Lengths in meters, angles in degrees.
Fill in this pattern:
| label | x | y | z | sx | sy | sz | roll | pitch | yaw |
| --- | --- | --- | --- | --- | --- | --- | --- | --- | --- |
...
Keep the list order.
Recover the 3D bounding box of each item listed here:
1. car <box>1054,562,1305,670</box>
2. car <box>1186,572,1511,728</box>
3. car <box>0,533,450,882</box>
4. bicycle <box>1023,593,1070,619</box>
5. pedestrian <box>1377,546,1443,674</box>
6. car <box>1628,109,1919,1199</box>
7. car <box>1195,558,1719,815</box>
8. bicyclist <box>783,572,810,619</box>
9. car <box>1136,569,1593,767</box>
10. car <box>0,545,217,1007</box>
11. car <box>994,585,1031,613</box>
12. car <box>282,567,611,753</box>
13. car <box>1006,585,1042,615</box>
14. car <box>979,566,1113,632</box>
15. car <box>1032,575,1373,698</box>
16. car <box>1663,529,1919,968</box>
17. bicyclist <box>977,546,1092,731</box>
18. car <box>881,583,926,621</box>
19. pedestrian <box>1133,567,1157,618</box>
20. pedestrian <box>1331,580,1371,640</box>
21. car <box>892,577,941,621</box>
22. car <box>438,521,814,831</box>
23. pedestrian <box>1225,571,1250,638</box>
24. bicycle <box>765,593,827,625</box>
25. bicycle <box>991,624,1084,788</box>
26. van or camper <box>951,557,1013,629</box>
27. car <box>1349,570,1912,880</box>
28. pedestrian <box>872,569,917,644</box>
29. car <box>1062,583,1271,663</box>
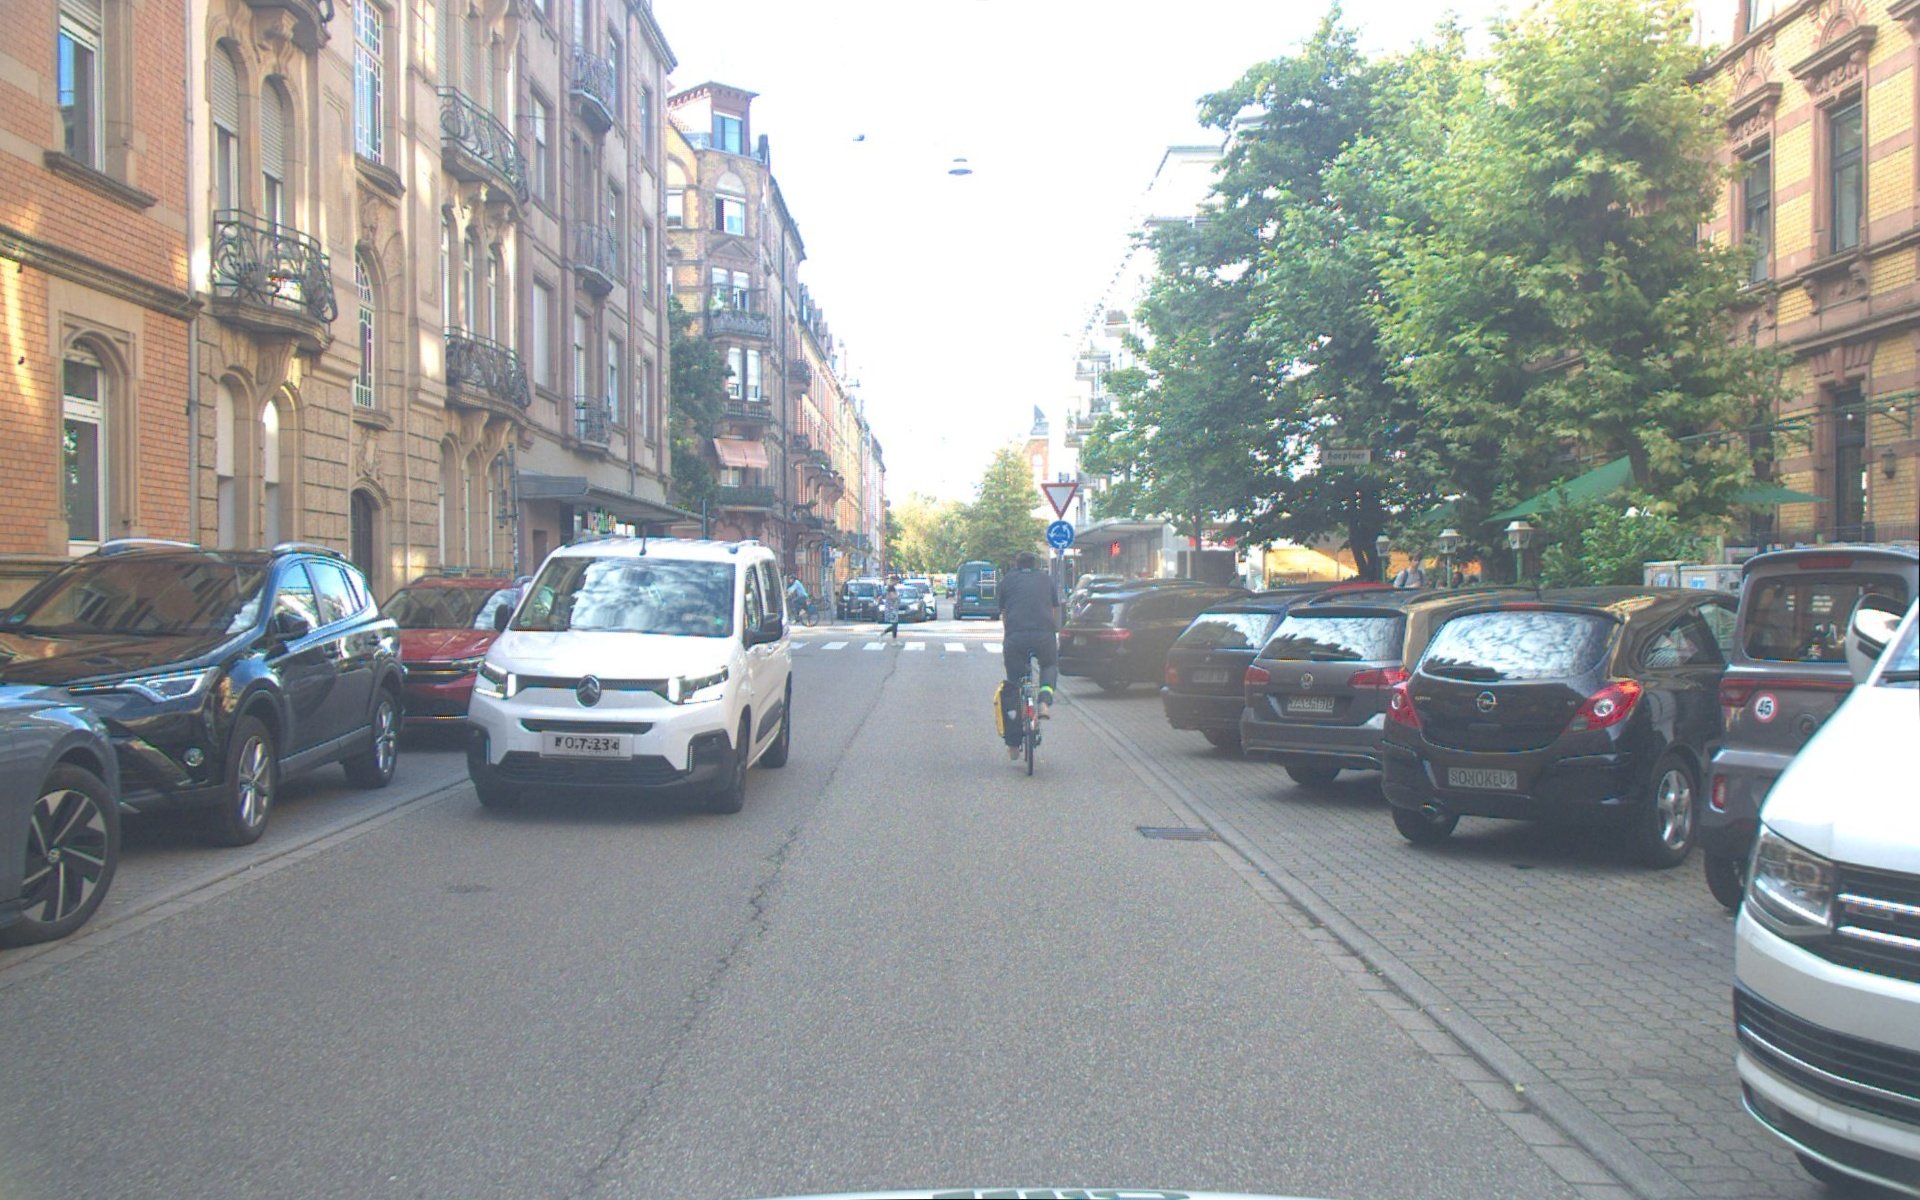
| label | x | y | z | sx | sy | sz | roll | pitch | yaw |
| --- | --- | --- | --- | --- | --- | --- | --- | --- | --- |
| car | 4.044 | 0.253 | 30.366 | 4.290 | 1.673 | 1.806 | -3 | 2 | -27 |
| car | 4.480 | 0.495 | 18.852 | 3.683 | 1.511 | 1.717 | -3 | 2 | -39 |
| car | -4.781 | 0.478 | 10.540 | 1.836 | 1.710 | 4.891 | 1 | 1 | -4 |
| bicycle | 3.665 | 0.236 | 70.175 | 1.959 | 1.063 | 0.532 | -1 | 0 | 2 |
| pedestrian | 6.848 | 0.151 | 25.194 | 0.822 | 1.911 | 0.723 | -1 | 0 | 4 |
| car | 4.174 | 0.196 | 4.429 | 5.098 | 2.447 | 1.895 | -2 | 1 | -34 |
| car | 4.042 | 0.532 | 13.063 | 4.429 | 1.502 | 1.862 | -5 | 3 | -41 |
| bicyclist | -5.921 | -0.162 | 59.872 | 0.841 | 1.694 | 0.786 | 1 | 0 | -17 |
| car | 3.977 | 0.544 | 15.966 | 4.419 | 1.490 | 1.856 | -3 | 2 | -36 |
| car | -4.176 | 0.606 | 4.996 | 1.789 | 1.606 | 5.259 | 1 | 0 | -4 |
| car | 2.909 | -0.078 | 91.914 | 1.952 | 1.512 | 4.000 | -1 | 1 | 0 |
| car | -4.863 | 0.507 | 16.380 | 1.953 | 1.572 | 4.425 | 0 | 0 | -1 |
| car | 3.073 | -0.034 | 80.461 | 1.611 | 1.347 | 3.577 | -3 | 1 | 1 |
| car | 2.589 | -0.050 | 50.440 | 3.906 | 1.914 | 1.999 | 1 | 0 | -2 |
| car | 3.603 | 0.463 | 24.382 | 4.701 | 1.482 | 2.037 | -3 | 2 | -29 |
| car | 4.662 | 0.539 | 7.638 | 2.432 | 1.695 | 1.335 | -4 | 3 | -27 |
| bicyclist | 0.619 | 0.314 | 14.012 | 0.914 | 1.509 | 0.747 | 1 | 0 | 0 |
| car | -2.246 | 0.078 | 65.936 | 1.715 | 1.461 | 4.210 | 1 | 0 | -2 |
| pedestrian | 6.782 | -0.277 | 60.635 | 0.850 | 1.883 | 0.613 | -1 | 0 | 5 |
| pedestrian | 8.898 | 0.221 | 37.674 | 0.742 | 1.366 | 0.596 | -1 | 0 | -5 |
| car | -1.921 | -0.073 | 74.514 | 1.902 | 1.752 | 4.851 | -2 | 2 | 1 |
| car | -2.228 | 0.447 | 12.301 | 1.878 | 1.860 | 4.438 | 1 | 0 | 0 |
| pedestrian | 7.408 | 0.126 | 44.075 | 0.615 | 1.769 | 0.776 | 0 | 0 | 12 |
| bicycle | -5.933 | 0.328 | 59.868 | 2.150 | 1.111 | 0.674 | 1 | 0 | -18 |
| bicycle | 0.617 | 0.834 | 13.949 | 0.652 | 1.198 | 2.497 | 1 | 0 | 0 |
| van or camper | 0.930 | -0.342 | 73.664 | 2.481 | 3.090 | 4.456 | -1 | 0 | -3 |
| car | 4.310 | 0.608 | 10.333 | 3.961 | 1.484 | 1.724 | -2 | 1 | -42 |
| pedestrian | -1.594 | 0.155 | 40.410 | 0.769 | 1.811 | 0.789 | -1 | 0 | 38 |
| car | 4.133 | 0.424 | 33.000 | 3.888 | 1.482 | 1.753 | -1 | 1 | -29 |
